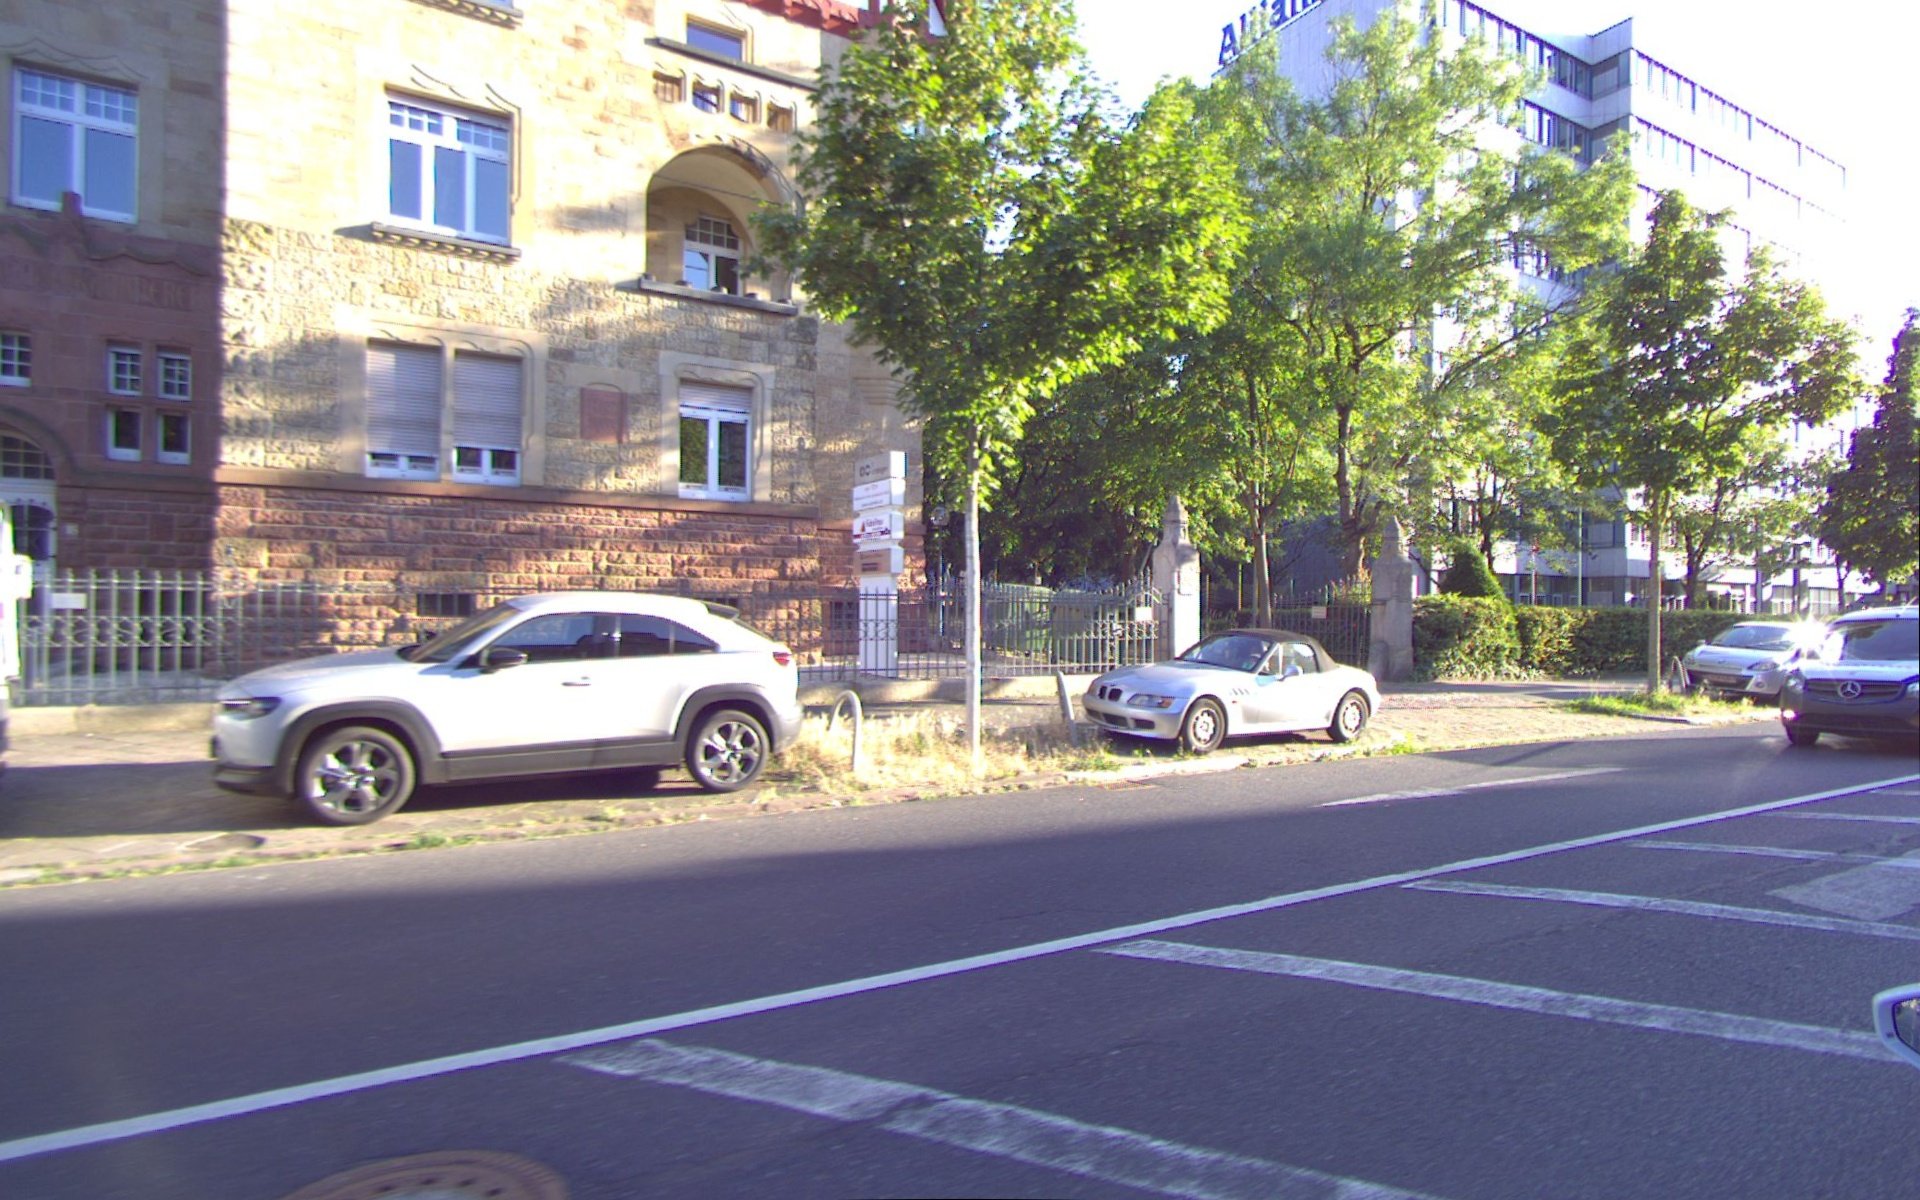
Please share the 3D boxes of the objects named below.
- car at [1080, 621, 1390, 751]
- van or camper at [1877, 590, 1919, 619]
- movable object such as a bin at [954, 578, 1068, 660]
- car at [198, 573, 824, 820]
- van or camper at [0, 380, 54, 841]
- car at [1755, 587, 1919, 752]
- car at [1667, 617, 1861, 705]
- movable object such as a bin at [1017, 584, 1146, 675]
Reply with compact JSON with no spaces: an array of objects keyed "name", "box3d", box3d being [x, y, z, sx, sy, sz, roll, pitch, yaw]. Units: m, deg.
[{"name":"car","box3d":[3.307,0.926,11.928,3.573,1.265,1.527,1,1,-32]},{"name":"van or camper","box3d":[89.299,0.464,92.630,2.422,2.556,6.527,1,1,-32]},{"name":"movable object such as a bin","box3d":[0.975,0.345,19.820,1.314,1.397,1.930,1,4,-31]},{"name":"car","box3d":[-3.429,0.622,8.189,4.254,1.555,1.736,1,1,-32]},{"name":"van or camper","box3d":[-8.454,-0.010,4.733,5.978,2.705,1.980,1,3,-35]},{"name":"car","box3d":[12.431,0.839,13.129,4.424,1.877,1.823,1,-2,-32]},{"name":"car","box3d":[15.576,1.117,19.429,3.955,1.471,1.687,1,1,-32]},{"name":"movable object such as a bin","box3d":[2.155,0.495,18.085,1.314,1.397,1.930,1,4,-31]}]
